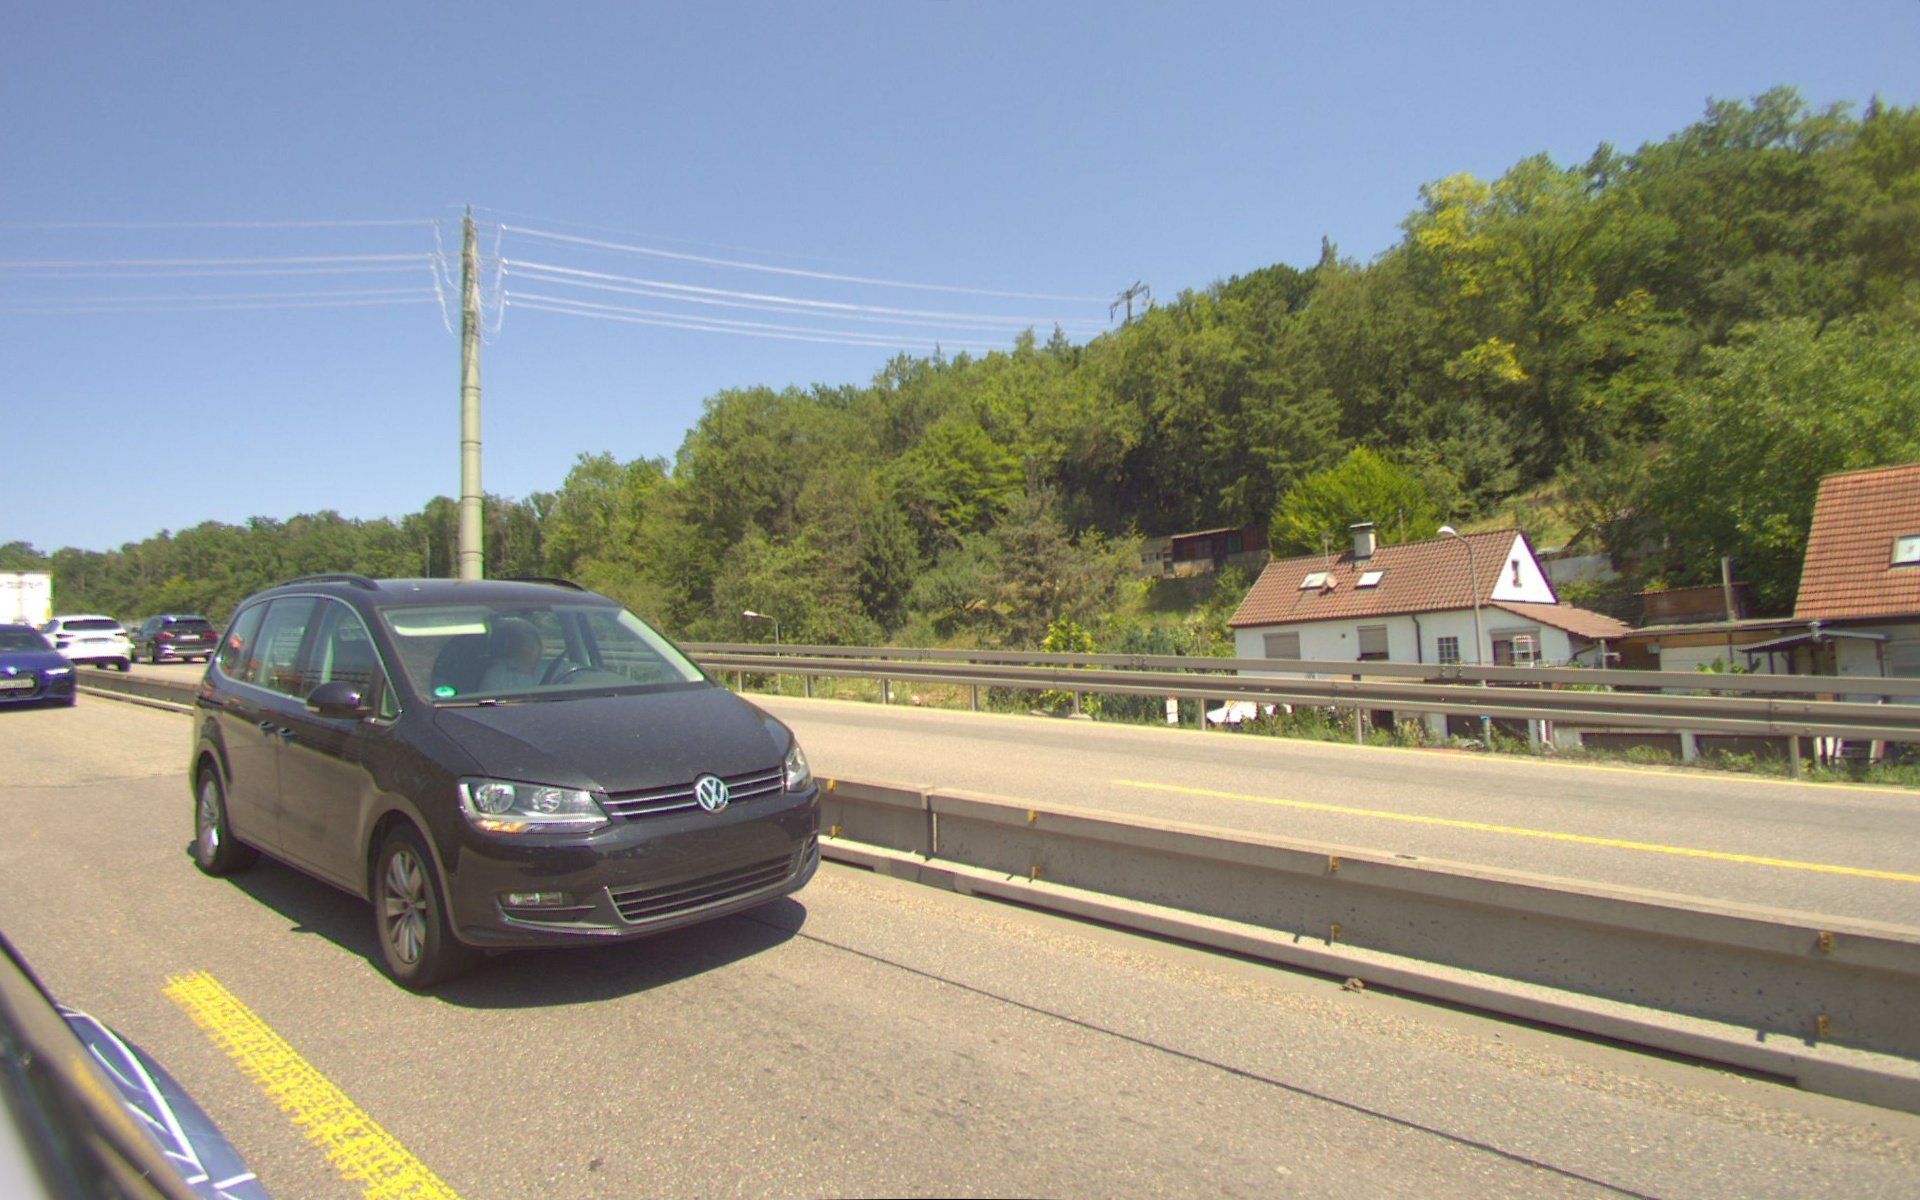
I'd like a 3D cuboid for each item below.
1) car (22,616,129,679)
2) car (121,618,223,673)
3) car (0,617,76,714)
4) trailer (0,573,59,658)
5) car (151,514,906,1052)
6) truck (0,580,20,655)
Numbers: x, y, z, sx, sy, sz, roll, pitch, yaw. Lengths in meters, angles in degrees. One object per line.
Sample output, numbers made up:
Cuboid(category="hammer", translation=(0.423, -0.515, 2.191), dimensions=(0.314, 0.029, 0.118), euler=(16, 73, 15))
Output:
Cuboid(category="car", translation=(-26.375, 1.349, 30.126), dimensions=(4.383, 1.699, 1.732), euler=(0, 0, 40))
Cuboid(category="car", translation=(-27.733, 1.540, 35.584), dimensions=(4.658, 1.755, 1.886), euler=(0, 0, 40))
Cuboid(category="car", translation=(-17.363, 1.120, 18.017), dimensions=(4.784, 1.567, 1.871), euler=(-2, -2, 42))
Cuboid(category="trailer", translation=(-50.632, 0.867, 53.401), dimensions=(9.003, 4.197, 2.975), euler=(-1, -1, 38))
Cuboid(category="car", translation=(-2.837, 0.651, 5.701), dimensions=(5.301, 1.719, 1.837), euler=(-2, -2, 42))
Cuboid(category="truck", translation=(-58.333, 1.094, 59.415), dimensions=(10.529, 4.194, 2.950), euler=(-2, -1, 38))
